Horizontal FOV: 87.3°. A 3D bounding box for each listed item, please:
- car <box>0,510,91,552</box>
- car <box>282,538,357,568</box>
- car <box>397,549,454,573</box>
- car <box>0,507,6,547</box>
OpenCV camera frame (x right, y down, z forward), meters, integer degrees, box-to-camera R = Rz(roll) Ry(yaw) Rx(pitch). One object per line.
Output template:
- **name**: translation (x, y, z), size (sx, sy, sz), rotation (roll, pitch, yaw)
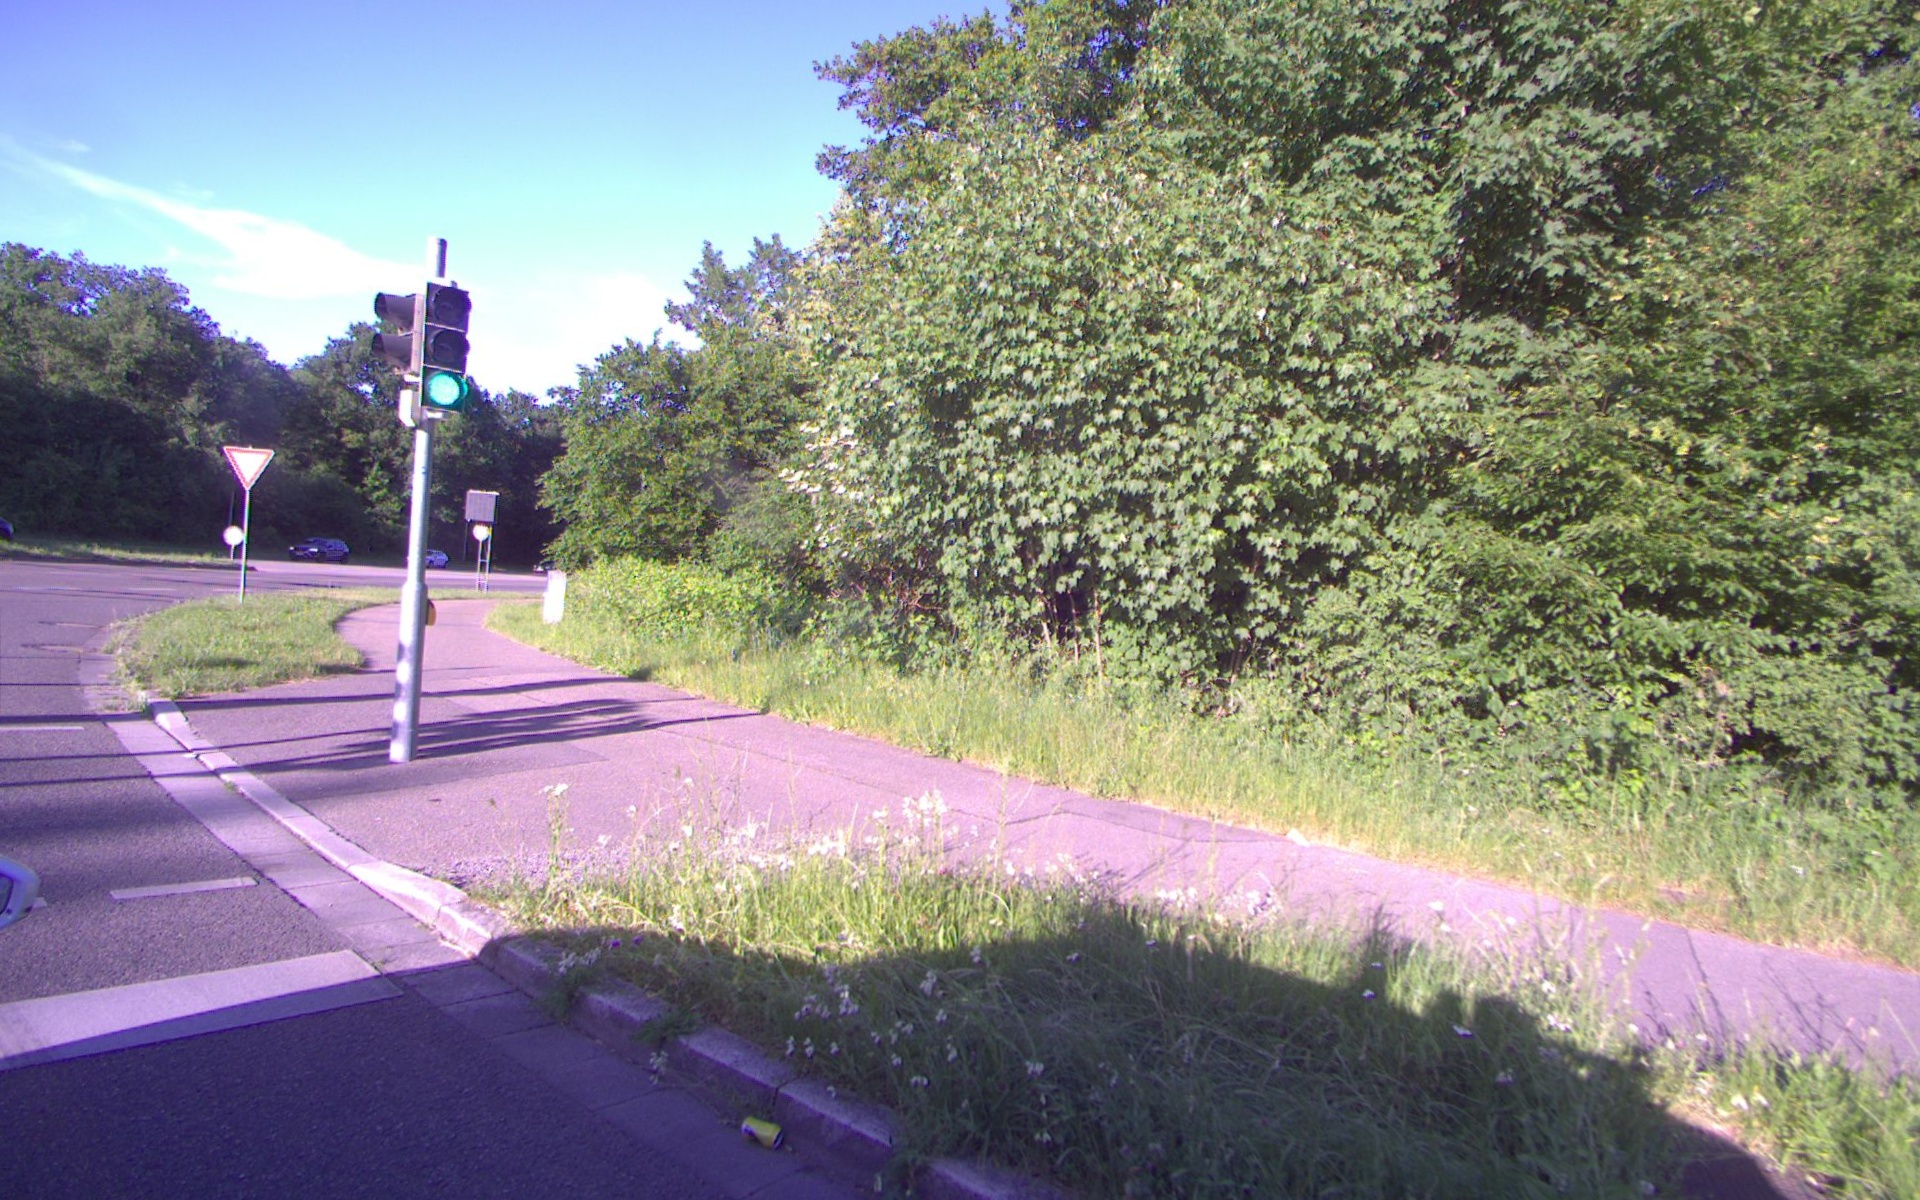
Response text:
- **car**: translation (-38.969, -2.912, 41.753), size (1.965, 1.454, 4.801), rotation (5, 0, -8)
- **car**: translation (-40.862, -2.978, 64.325), size (1.964, 1.548, 4.648), rotation (5, 0, -4)
- **car**: translation (-41.663, -3.010, 78.573), size (1.963, 1.548, 4.649), rotation (5, 0, -2)
- **car**: translation (-35.490, -2.721, 34.150), size (1.965, 1.454, 4.801), rotation (5, 0, -8)
